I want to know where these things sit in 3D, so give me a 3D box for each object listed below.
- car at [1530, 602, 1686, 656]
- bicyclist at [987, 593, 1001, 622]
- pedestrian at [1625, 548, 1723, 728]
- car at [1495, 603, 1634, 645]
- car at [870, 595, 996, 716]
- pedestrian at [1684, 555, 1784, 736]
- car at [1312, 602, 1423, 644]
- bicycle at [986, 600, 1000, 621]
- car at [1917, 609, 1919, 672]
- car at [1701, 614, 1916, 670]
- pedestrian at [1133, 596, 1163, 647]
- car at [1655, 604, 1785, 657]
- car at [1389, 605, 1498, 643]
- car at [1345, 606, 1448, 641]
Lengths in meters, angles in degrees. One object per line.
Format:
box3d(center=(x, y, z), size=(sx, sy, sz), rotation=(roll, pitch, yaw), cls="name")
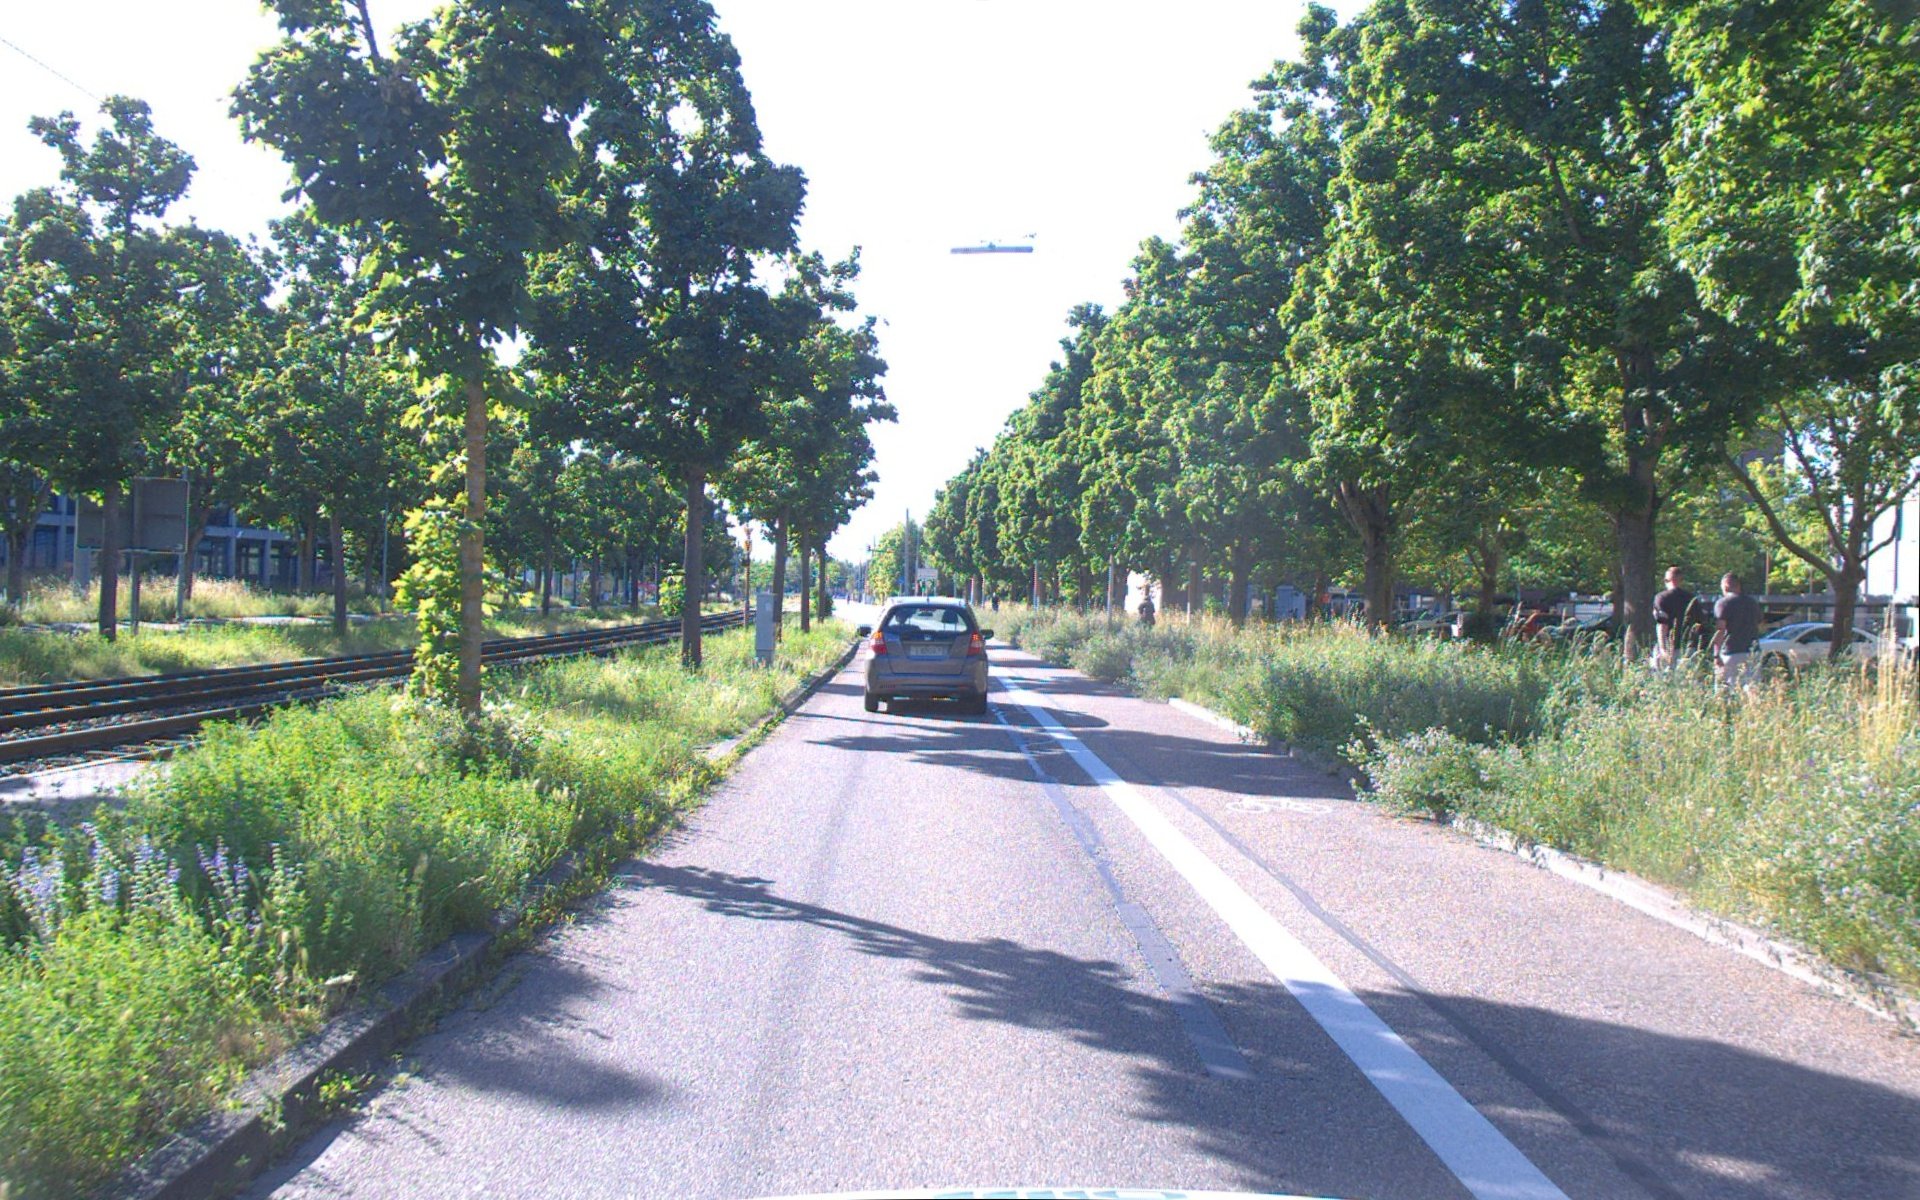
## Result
box3d(center=(20.913, 0.932, 53.455), size=(4.306, 1.624, 1.882), rotation=(1, 0, -6), cls="car")
box3d(center=(2.043, 0.467, 100.429), size=(0.670, 1.750, 0.900), rotation=(1, -1, -10), cls="bicyclist")
box3d(center=(7.991, 0.420, 18.548), size=(0.693, 1.951, 0.816), rotation=(2, 0, -1), cls="pedestrian")
box3d(center=(21.356, 0.847, 58.535), size=(4.203, 1.347, 1.941), rotation=(1, 1, 2), cls="car")
box3d(center=(-0.427, 0.717, 22.997), size=(1.592, 1.526, 3.455), rotation=(1, 0, -3), cls="car")
box3d(center=(8.685, 0.499, 18.587), size=(0.693, 1.964, 0.816), rotation=(2, 0, -1), cls="pedestrian")
box3d(center=(16.112, 0.904, 65.439), size=(3.917, 1.552, 1.704), rotation=(1, 0, -6), cls="car")
box3d(center=(2.011, 0.653, 100.548), size=(0.474, 1.225, 2.138), rotation=(2, -2, -9), cls="bicycle")
box3d(center=(32.698, 1.336, 51.545), size=(4.654, 1.984, 1.973), rotation=(1, 1, -3), cls="car")
box3d(center=(21.560, 1.061, 42.114), size=(4.605, 1.293, 1.806), rotation=(1, 1, -5), cls="car")
box3d(center=(6.012, 0.681, 52.818), size=(0.807, 1.596, 0.762), rotation=(2, 0, -2), cls="pedestrian")
box3d(center=(31.448, 1.245, 68.508), size=(4.492, 2.049, 1.957), rotation=(1, 0, -1), cls="car")
box3d(center=(20.471, 1.016, 70.082), size=(4.079, 1.457, 1.825), rotation=(2, 0, 1), cls="car")
box3d(center=(20.102, 1.055, 76.287), size=(4.266, 1.484, 1.689), rotation=(1, 0, 1), cls="car")
